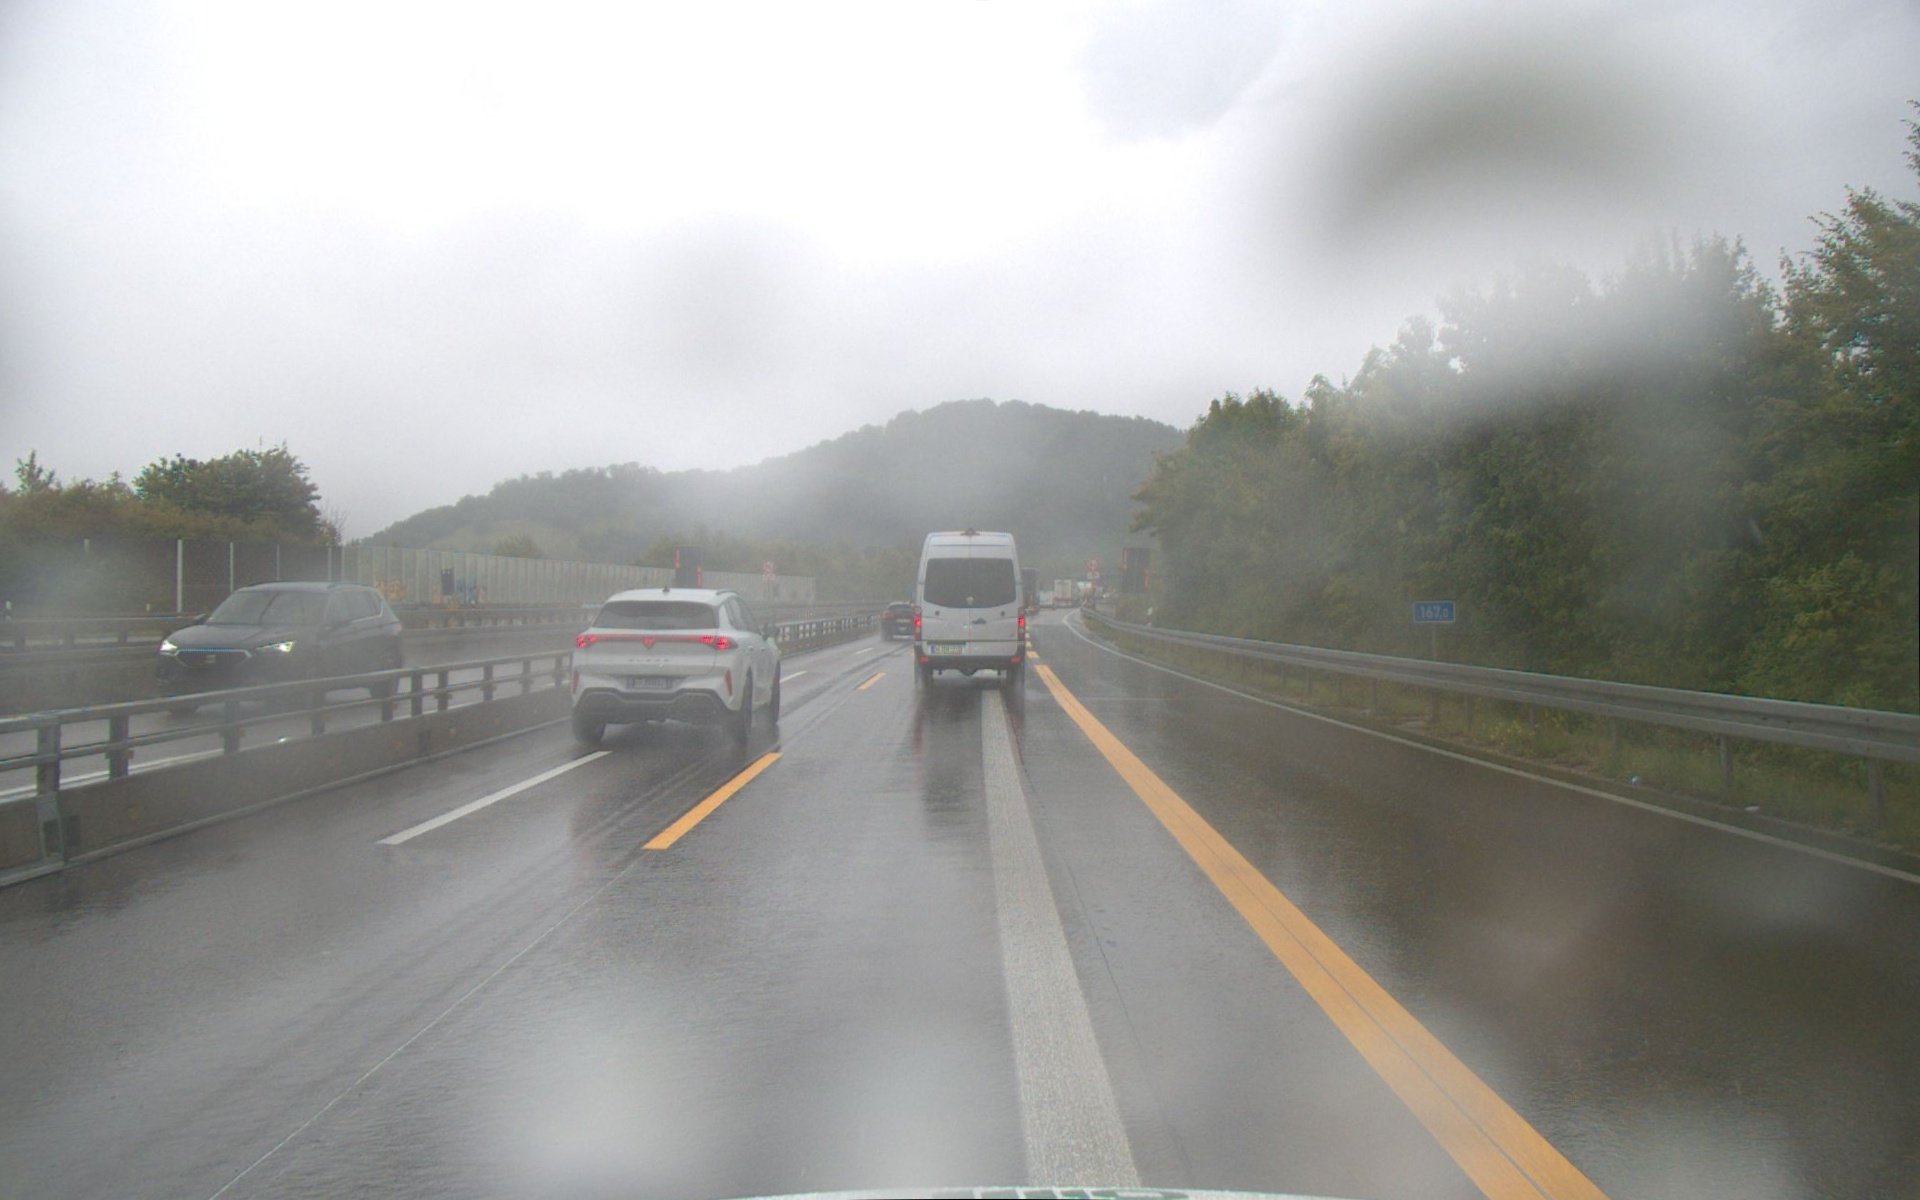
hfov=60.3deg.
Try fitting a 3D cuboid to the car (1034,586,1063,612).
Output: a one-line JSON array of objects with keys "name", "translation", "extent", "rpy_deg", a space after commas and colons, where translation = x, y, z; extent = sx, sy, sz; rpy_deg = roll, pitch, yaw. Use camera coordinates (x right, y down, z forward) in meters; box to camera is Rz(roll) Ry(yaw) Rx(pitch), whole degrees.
[{"name": "car", "translation": [10.402, -0.047, 193.240], "extent": [2.837, 2.938, 6.416], "rpy_deg": [1, 0, 8]}]

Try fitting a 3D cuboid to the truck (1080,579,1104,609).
[{"name": "truck", "translation": [20.929, -0.915, 261.611], "extent": [2.836, 4.483, 9.632], "rpy_deg": [1, 0, 10]}]

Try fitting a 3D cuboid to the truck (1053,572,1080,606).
[{"name": "truck", "translation": [14.805, -1.455, 229.734], "extent": [2.971, 4.483, 9.631], "rpy_deg": [1, 0, 8]}]

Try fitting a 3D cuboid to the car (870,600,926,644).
[{"name": "car", "translation": [-2.317, 0.815, 62.567], "extent": [1.907, 1.588, 4.000], "rpy_deg": [1, 0, 0]}]

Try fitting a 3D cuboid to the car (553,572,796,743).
[{"name": "car", "translation": [-3.035, 0.581, 18.627], "extent": [1.953, 1.646, 4.795], "rpy_deg": [1, 0, -1]}]

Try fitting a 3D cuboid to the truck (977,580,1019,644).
[{"name": "truck", "translation": [2.052, 0.640, 86.960], "extent": [1.952, 3.163, 8.501], "rpy_deg": [1, 0, 2]}]

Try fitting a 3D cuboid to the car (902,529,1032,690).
[{"name": "car", "translation": [0.095, 0.168, 29.961], "extent": [2.101, 2.616, 5.388], "rpy_deg": [1, 0, -1]}]

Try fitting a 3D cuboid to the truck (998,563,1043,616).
[{"name": "truck", "translation": [5.396, -0.832, 146.178], "extent": [3.506, 4.483, 9.629], "rpy_deg": [1, 0, 4]}]

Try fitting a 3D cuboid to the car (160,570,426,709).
[{"name": "car", "translation": [-8.694, 0.489, 21.987], "extent": [1.742, 1.632, 4.316], "rpy_deg": [1, 0, 0]}]
